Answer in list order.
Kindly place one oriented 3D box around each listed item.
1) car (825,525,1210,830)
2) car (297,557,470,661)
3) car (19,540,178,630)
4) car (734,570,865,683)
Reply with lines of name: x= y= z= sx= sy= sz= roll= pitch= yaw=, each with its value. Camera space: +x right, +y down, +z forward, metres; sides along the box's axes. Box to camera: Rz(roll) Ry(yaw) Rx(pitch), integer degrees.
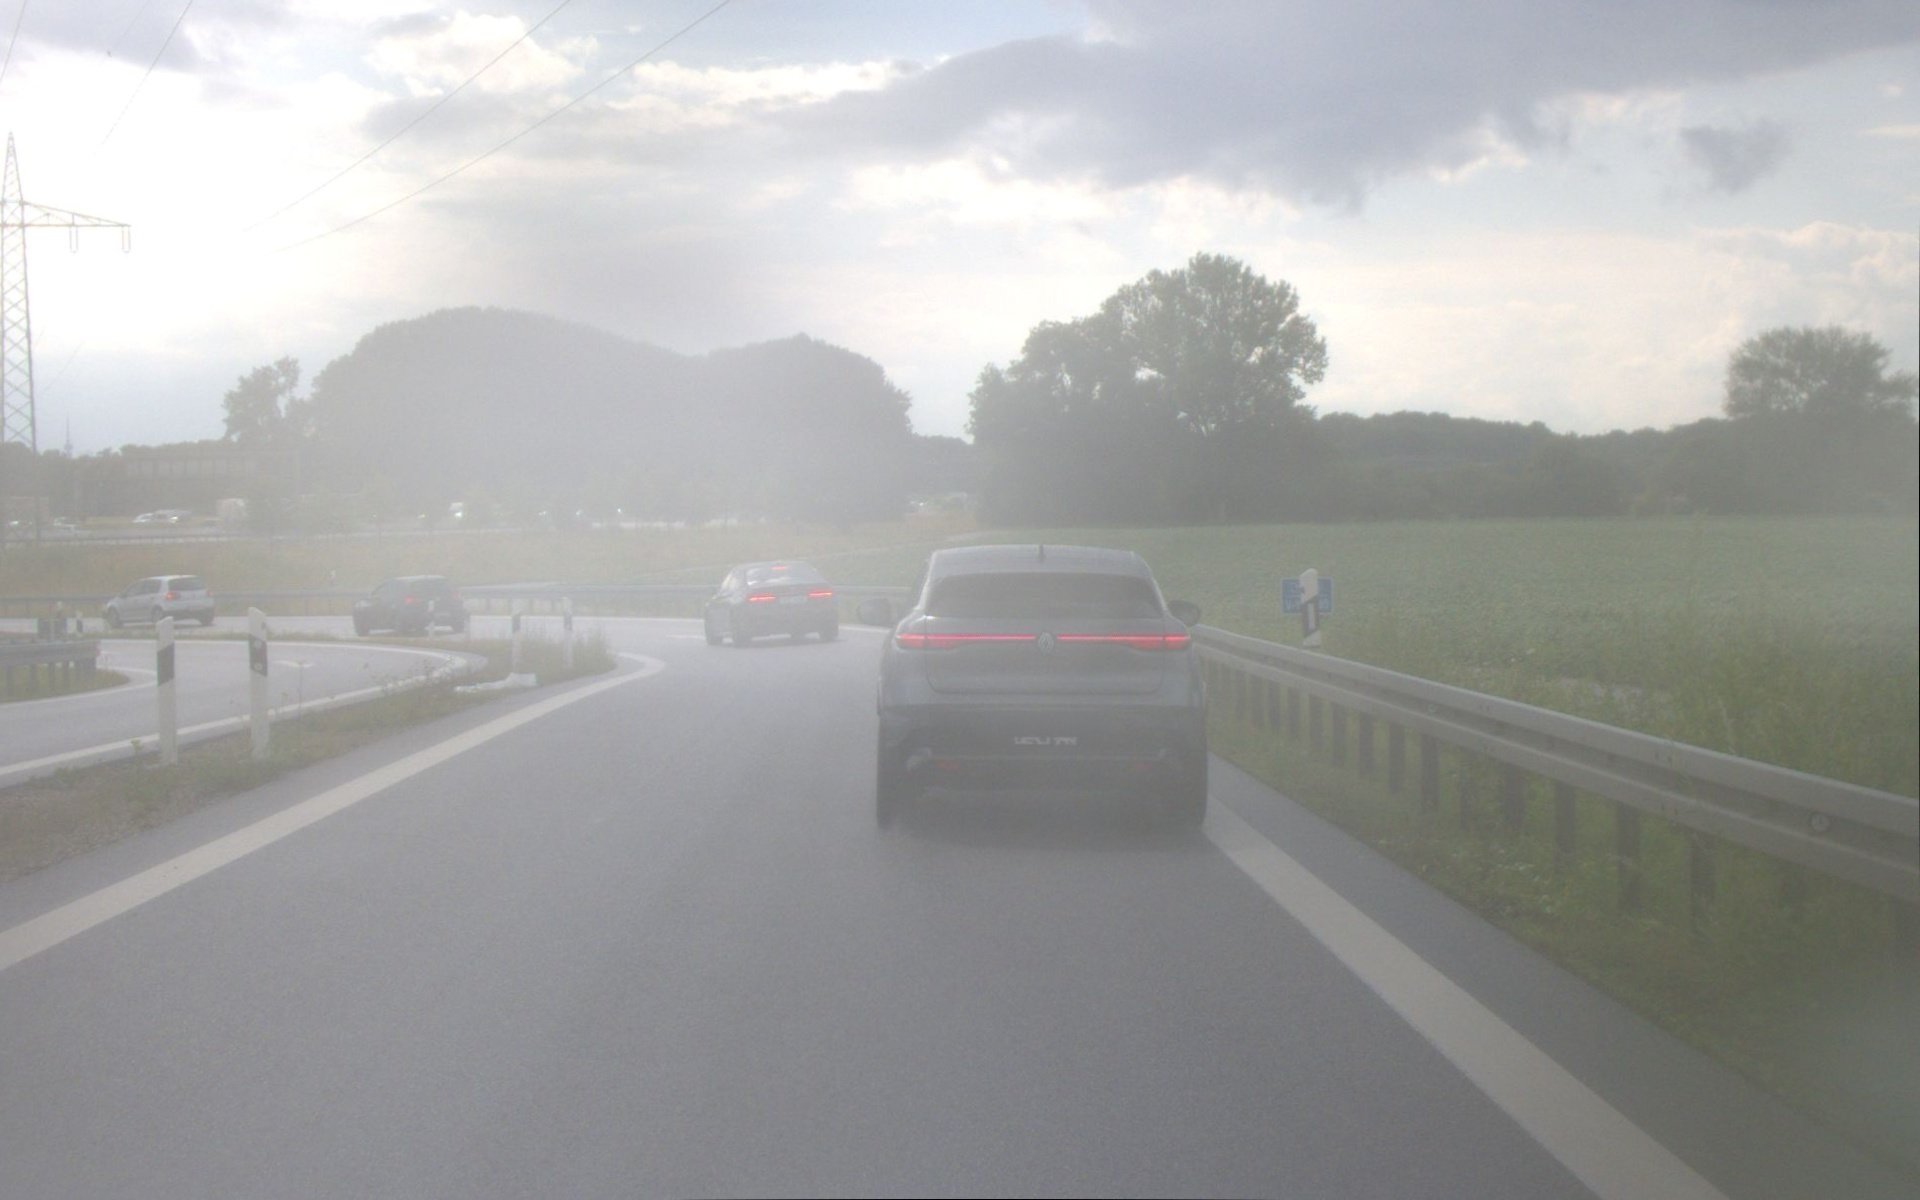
car: x=0.347 y=0.359 z=20.022 sx=1.993 sy=1.561 sz=4.149 roll=1 pitch=1 yaw=1
car: x=-14.610 y=0.181 z=86.941 sx=2.351 sy=2.299 sz=5.128 roll=-3 pitch=4 yaw=-34
car: x=-24.872 y=-0.467 z=99.164 sx=2.352 sy=2.299 sz=5.127 roll=-4 pitch=5 yaw=-41
car: x=-3.043 y=0.447 z=64.215 sx=2.120 sy=2.011 sz=5.535 roll=0 pitch=1 yaw=-6
